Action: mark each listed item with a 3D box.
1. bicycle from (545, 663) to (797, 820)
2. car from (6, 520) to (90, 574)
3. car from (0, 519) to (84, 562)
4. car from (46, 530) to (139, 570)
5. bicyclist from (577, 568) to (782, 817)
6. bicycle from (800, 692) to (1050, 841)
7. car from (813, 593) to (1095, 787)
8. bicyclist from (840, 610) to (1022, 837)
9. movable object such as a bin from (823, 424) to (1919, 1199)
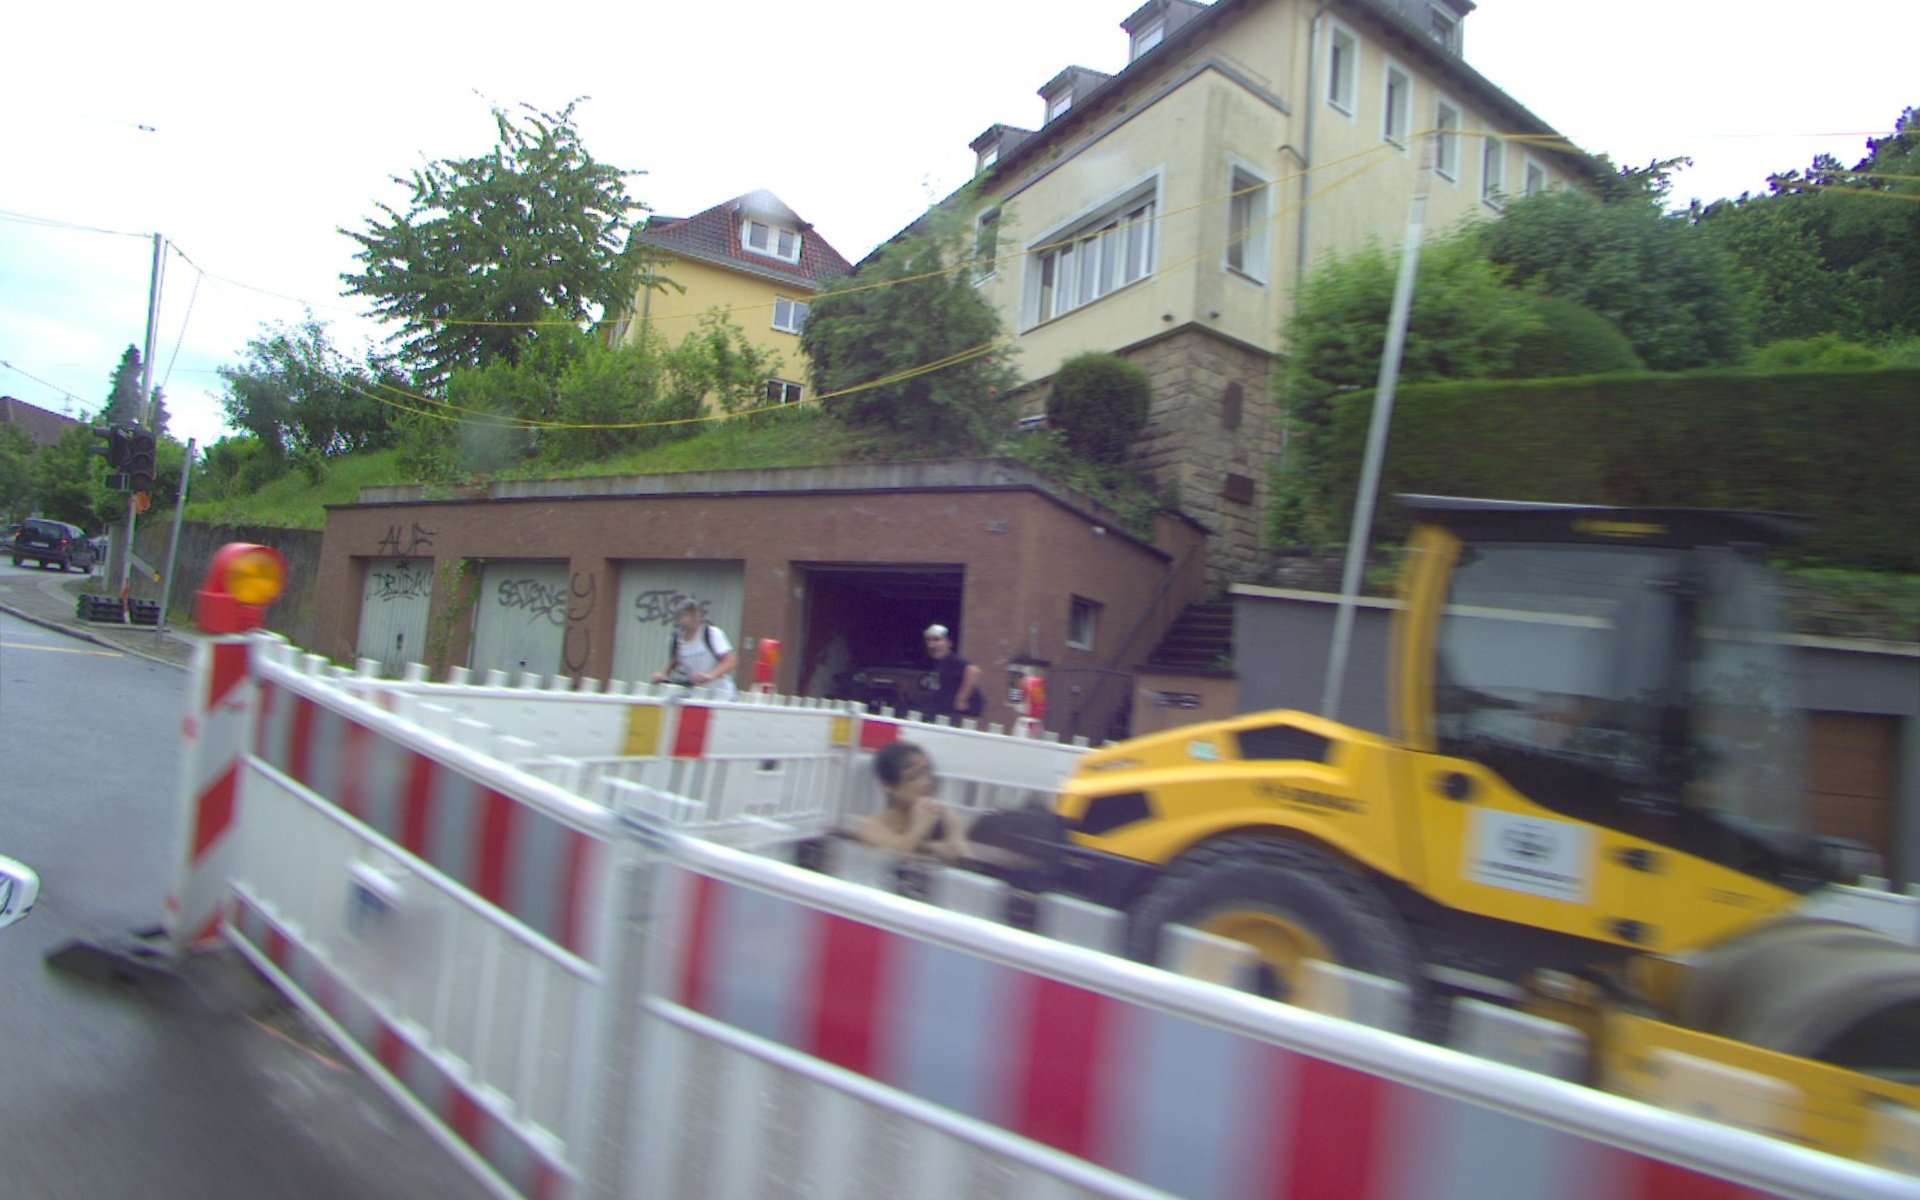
[{"bbox_3d":[-2.233,1.102,8.100,0.915,0.991,1.887,6,-4,20],"label":"bicycle"},{"bbox_3d":[-35.579,-2.111,39.336,1.723,1.790,4.195,7,0,-34],"label":"car"},{"bbox_3d":[-45.582,-2.956,49.191,1.843,1.562,4.898,8,-3,-12],"label":"car"},{"bbox_3d":[-46.558,-2.628,54.098,1.710,1.562,4.207,8,-3,-10],"label":"car"},{"bbox_3d":[-2.208,0.729,8.062,0.915,1.747,1.078,6,-3,20],"label":"bicyclist"},{"bbox_3d":[-0.295,1.419,8.579,1.809,0.991,0.927,10,-4,-27],"label":"bicycle"},{"bbox_3d":[0.149,1.220,13.090,1.783,2.034,4.392,2,-6,26],"label":"car"},{"bbox_3d":[-0.260,1.032,8.605,1.065,1.747,0.927,9,-3,-27],"label":"bicyclist"},{"bbox_3d":[2.415,0.939,4.672,5.579,2.870,2.093,7,-2,29],"label":"movable object such as a bin"}]
